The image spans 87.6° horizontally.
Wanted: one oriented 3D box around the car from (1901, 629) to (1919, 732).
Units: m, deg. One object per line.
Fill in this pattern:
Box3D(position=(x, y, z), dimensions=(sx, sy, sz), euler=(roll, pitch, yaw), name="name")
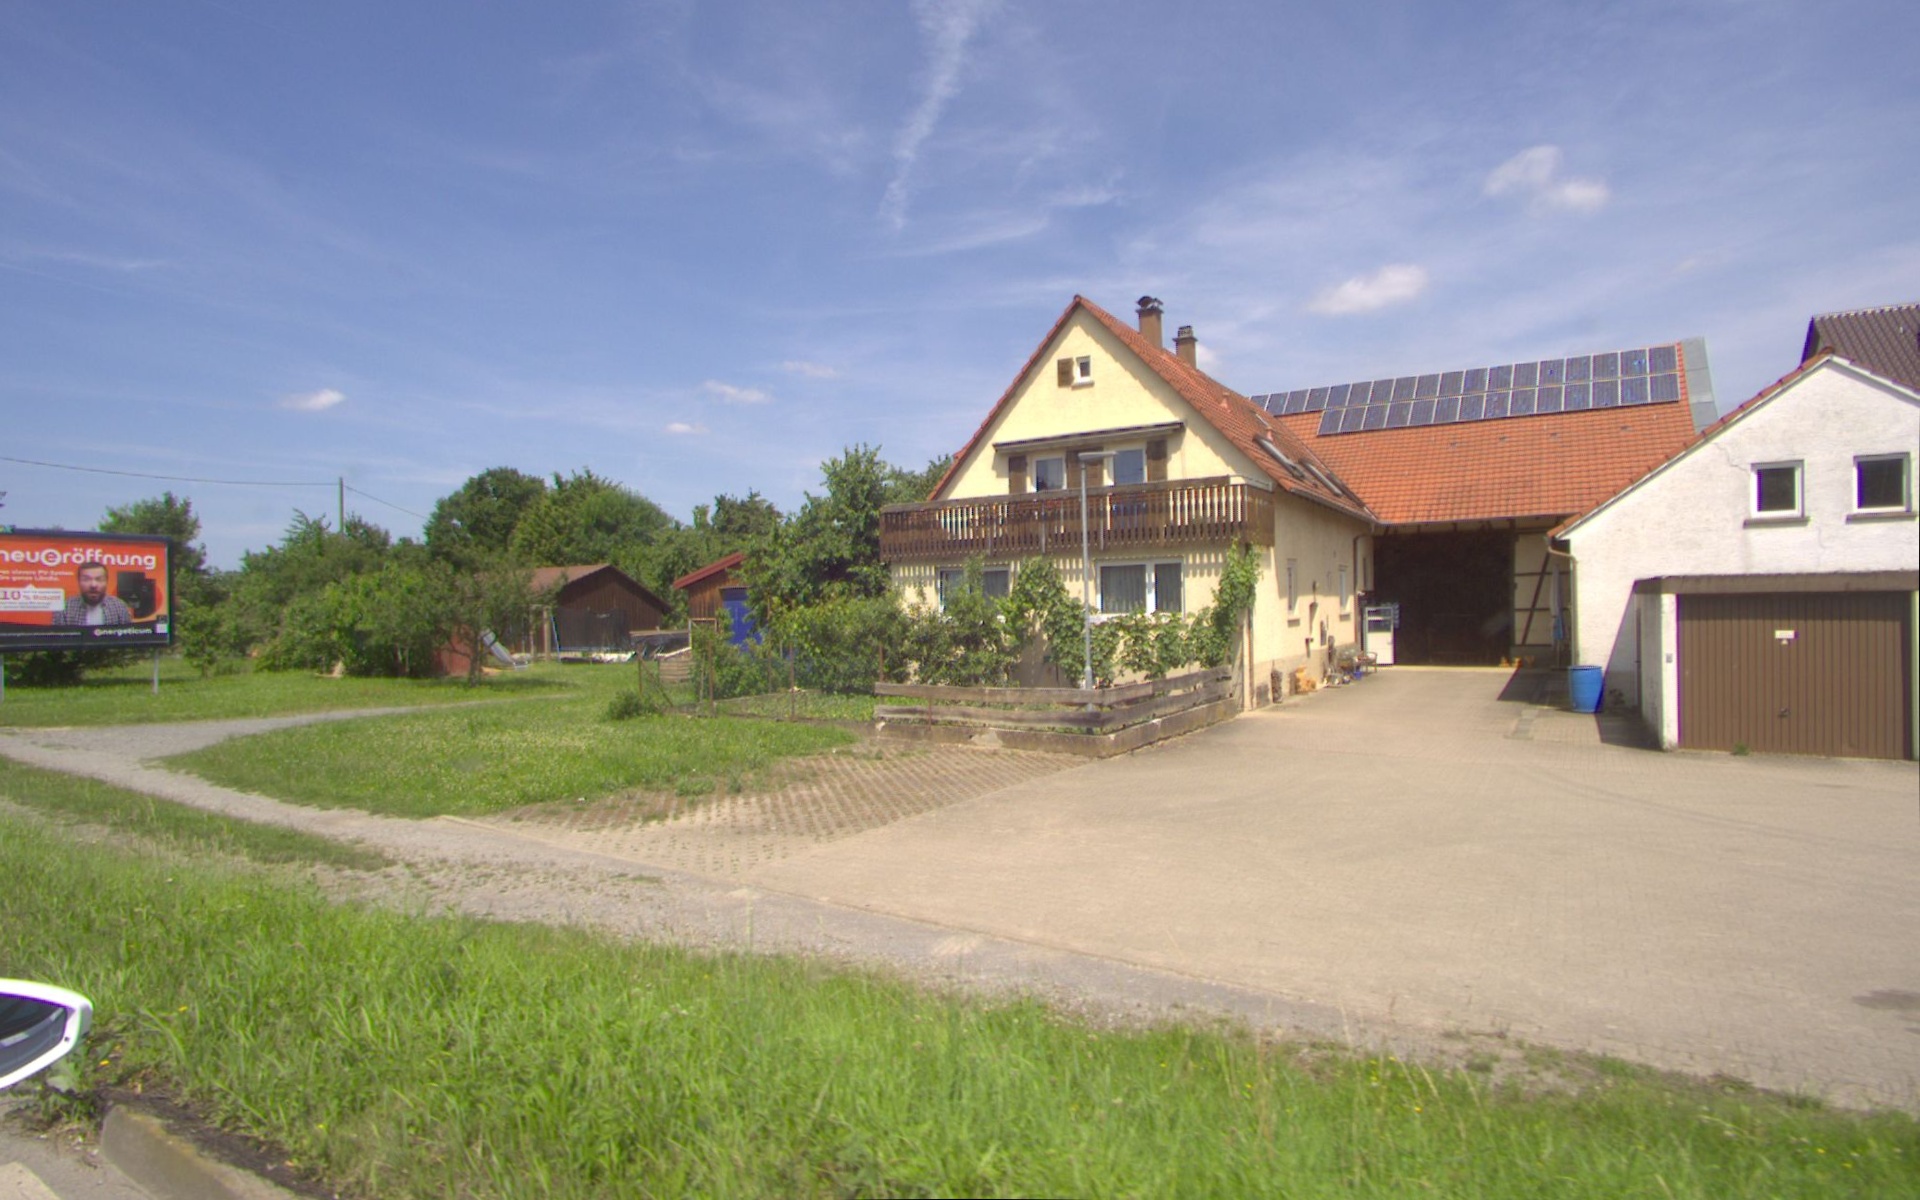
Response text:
Box3D(position=(15.464, 1.266, 14.580), dimensions=(1.808, 1.599, 3.979), euler=(-1, -1, 32), name="car")
